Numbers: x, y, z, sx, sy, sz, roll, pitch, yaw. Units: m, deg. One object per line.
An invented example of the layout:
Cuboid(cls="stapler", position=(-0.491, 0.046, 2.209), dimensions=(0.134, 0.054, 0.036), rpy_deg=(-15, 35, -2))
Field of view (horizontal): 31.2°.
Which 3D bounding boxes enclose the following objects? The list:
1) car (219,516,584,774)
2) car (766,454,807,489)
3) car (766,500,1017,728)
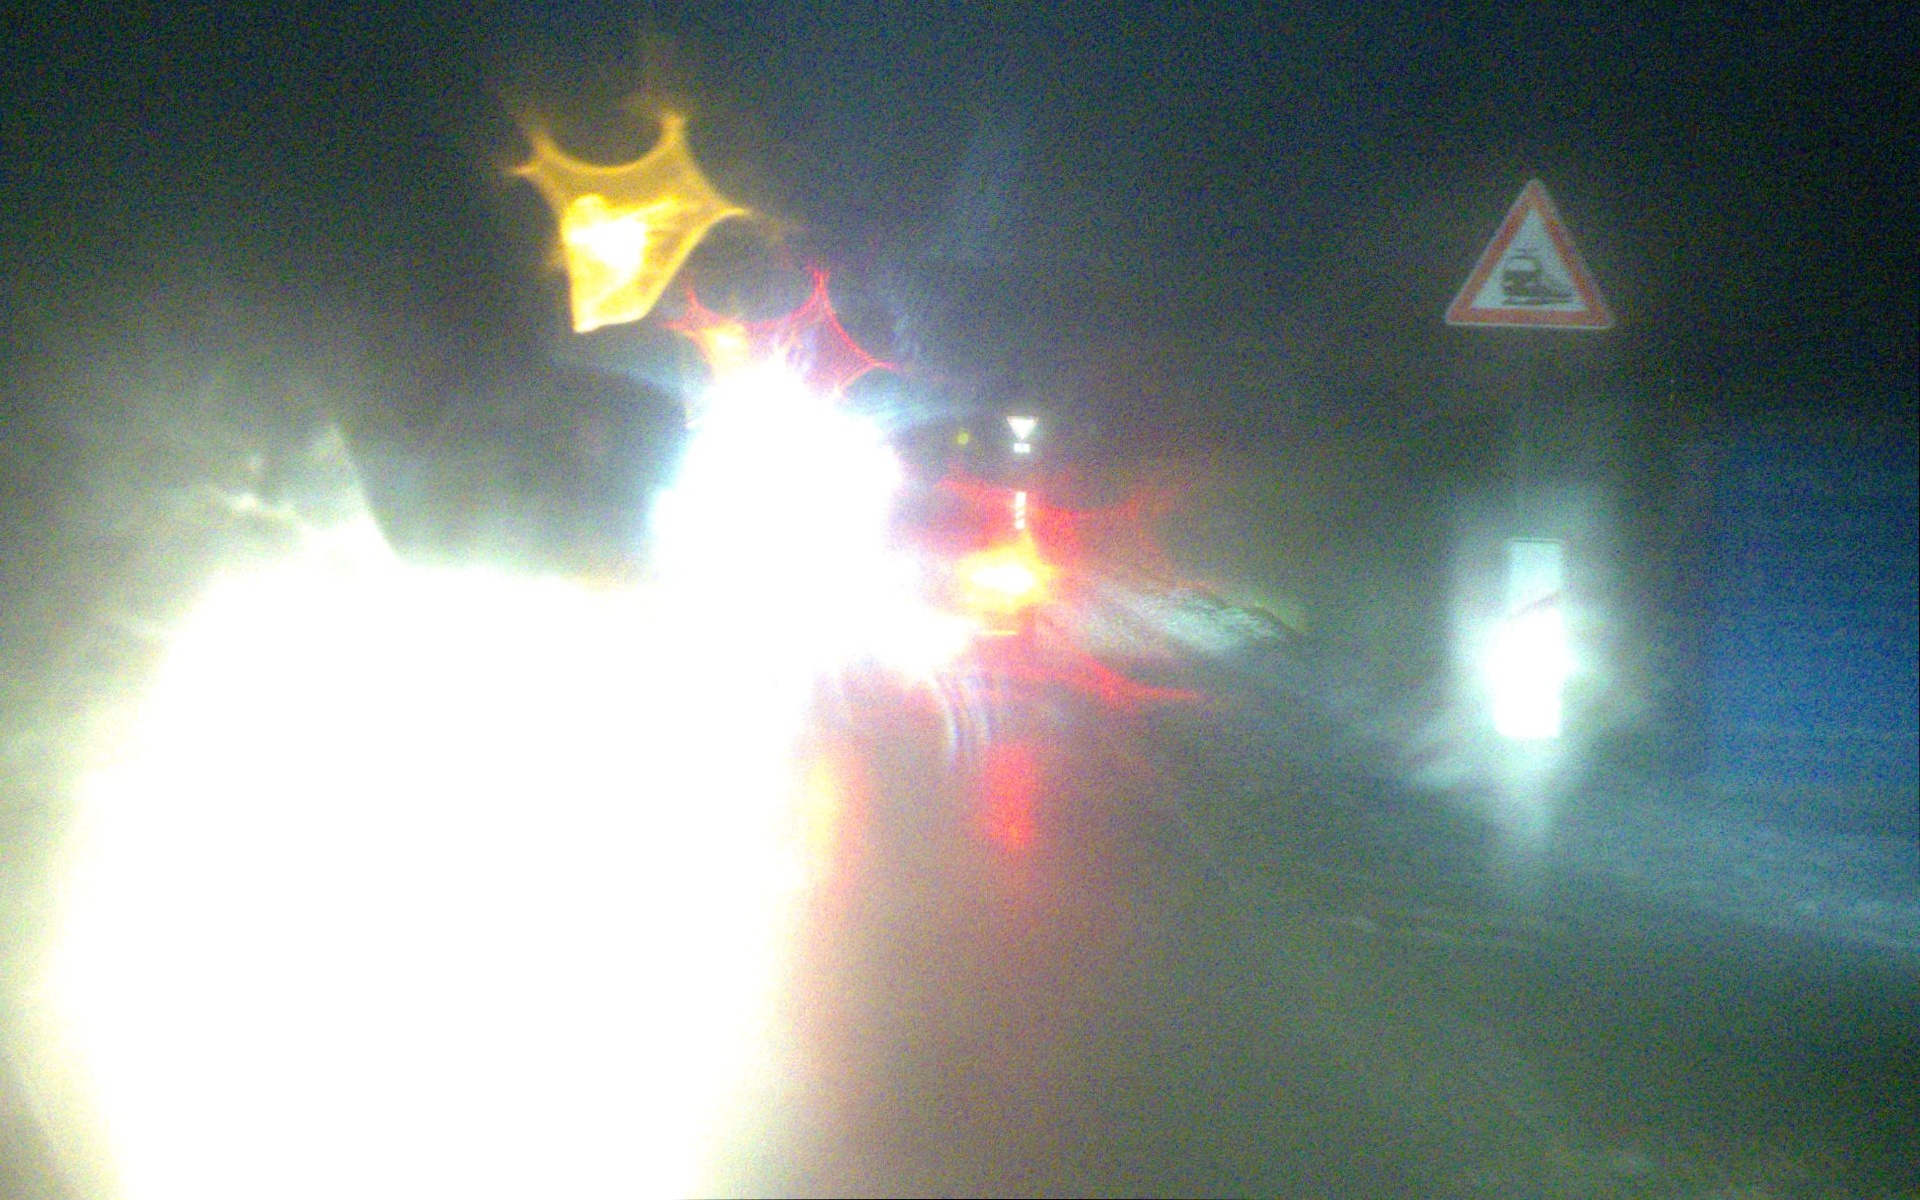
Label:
Cuboid(cls="car", position=(-3.584, 0.240, 22.656), dimensions=(1.801, 1.504, 3.615), rpy_deg=(2, 1, -1))
Cuboid(cls="car", position=(-7.704, -5.710, 152.653), dimensions=(1.731, 1.513, 4.016), rpy_deg=(1, 2, -2))
Cuboid(cls="car", position=(-0.528, 0.069, 27.244), dimensions=(1.801, 1.623, 3.615), rpy_deg=(2, 1, -1))
